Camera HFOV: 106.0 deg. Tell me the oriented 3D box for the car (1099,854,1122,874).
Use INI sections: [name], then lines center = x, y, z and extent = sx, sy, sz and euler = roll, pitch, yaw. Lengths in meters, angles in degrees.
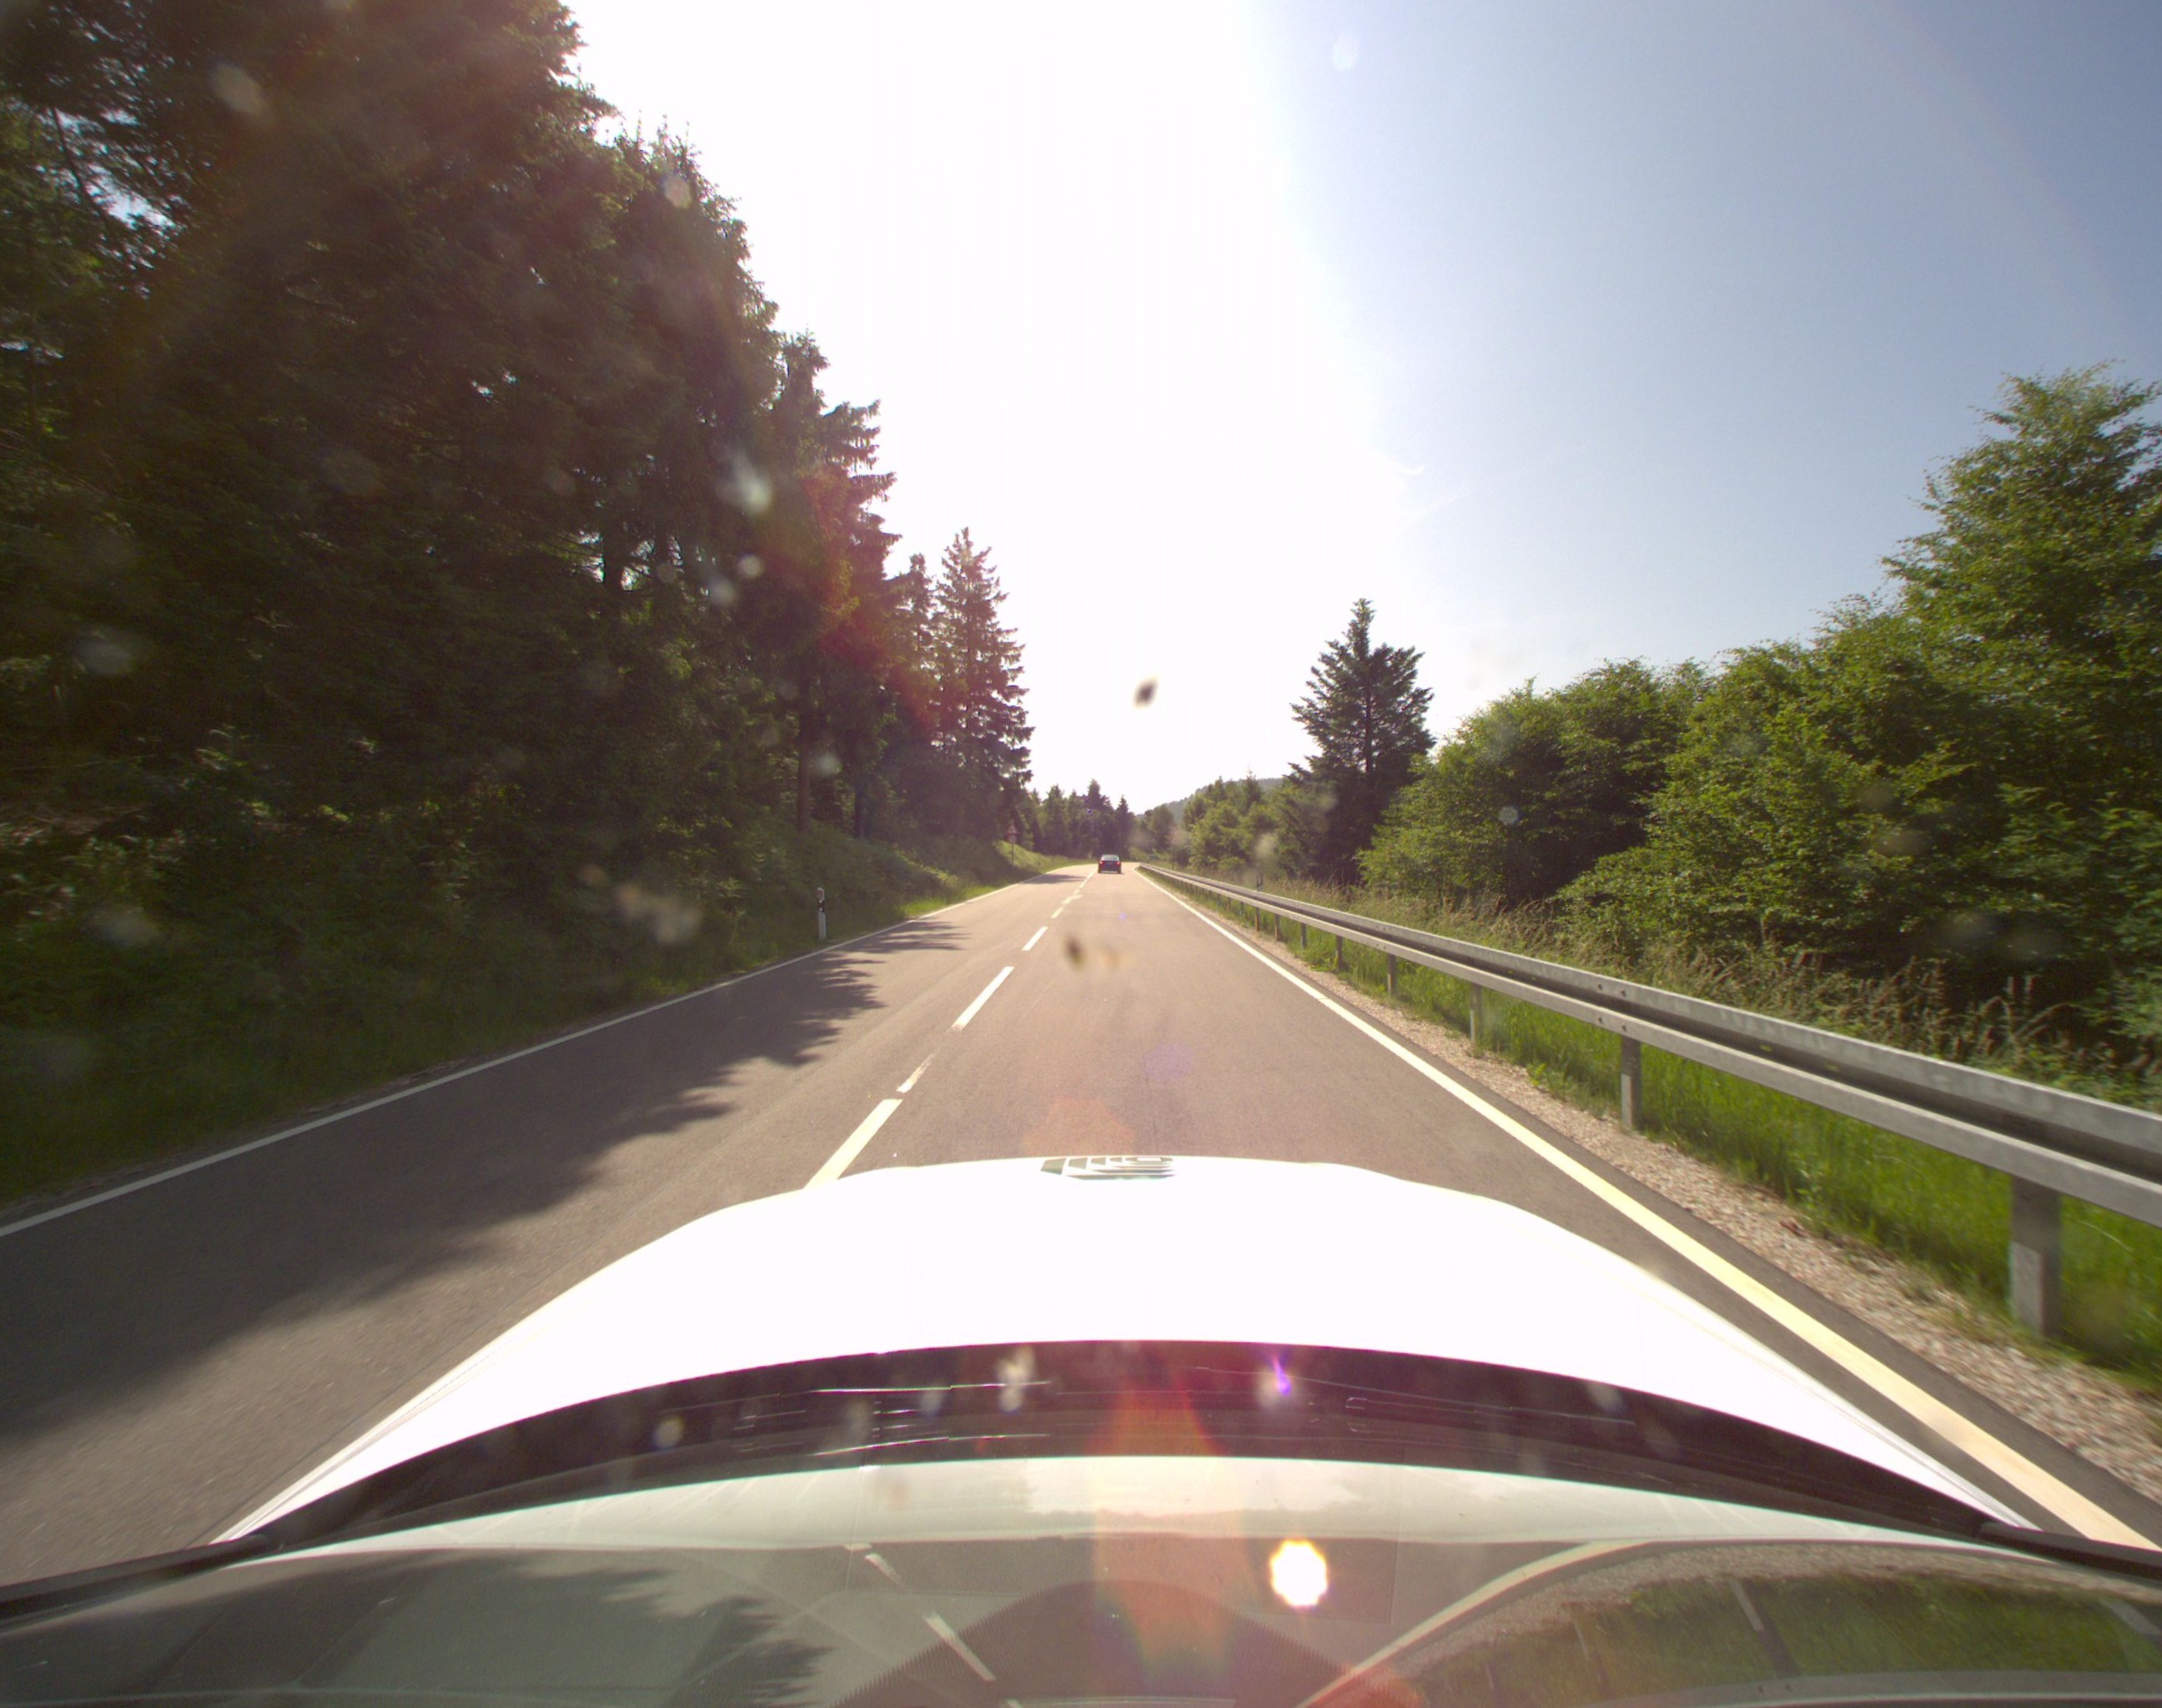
[car]
center = 2.316, 0.749, 63.212
extent = 1.768, 1.442, 3.712
euler = 1, 0, 3
